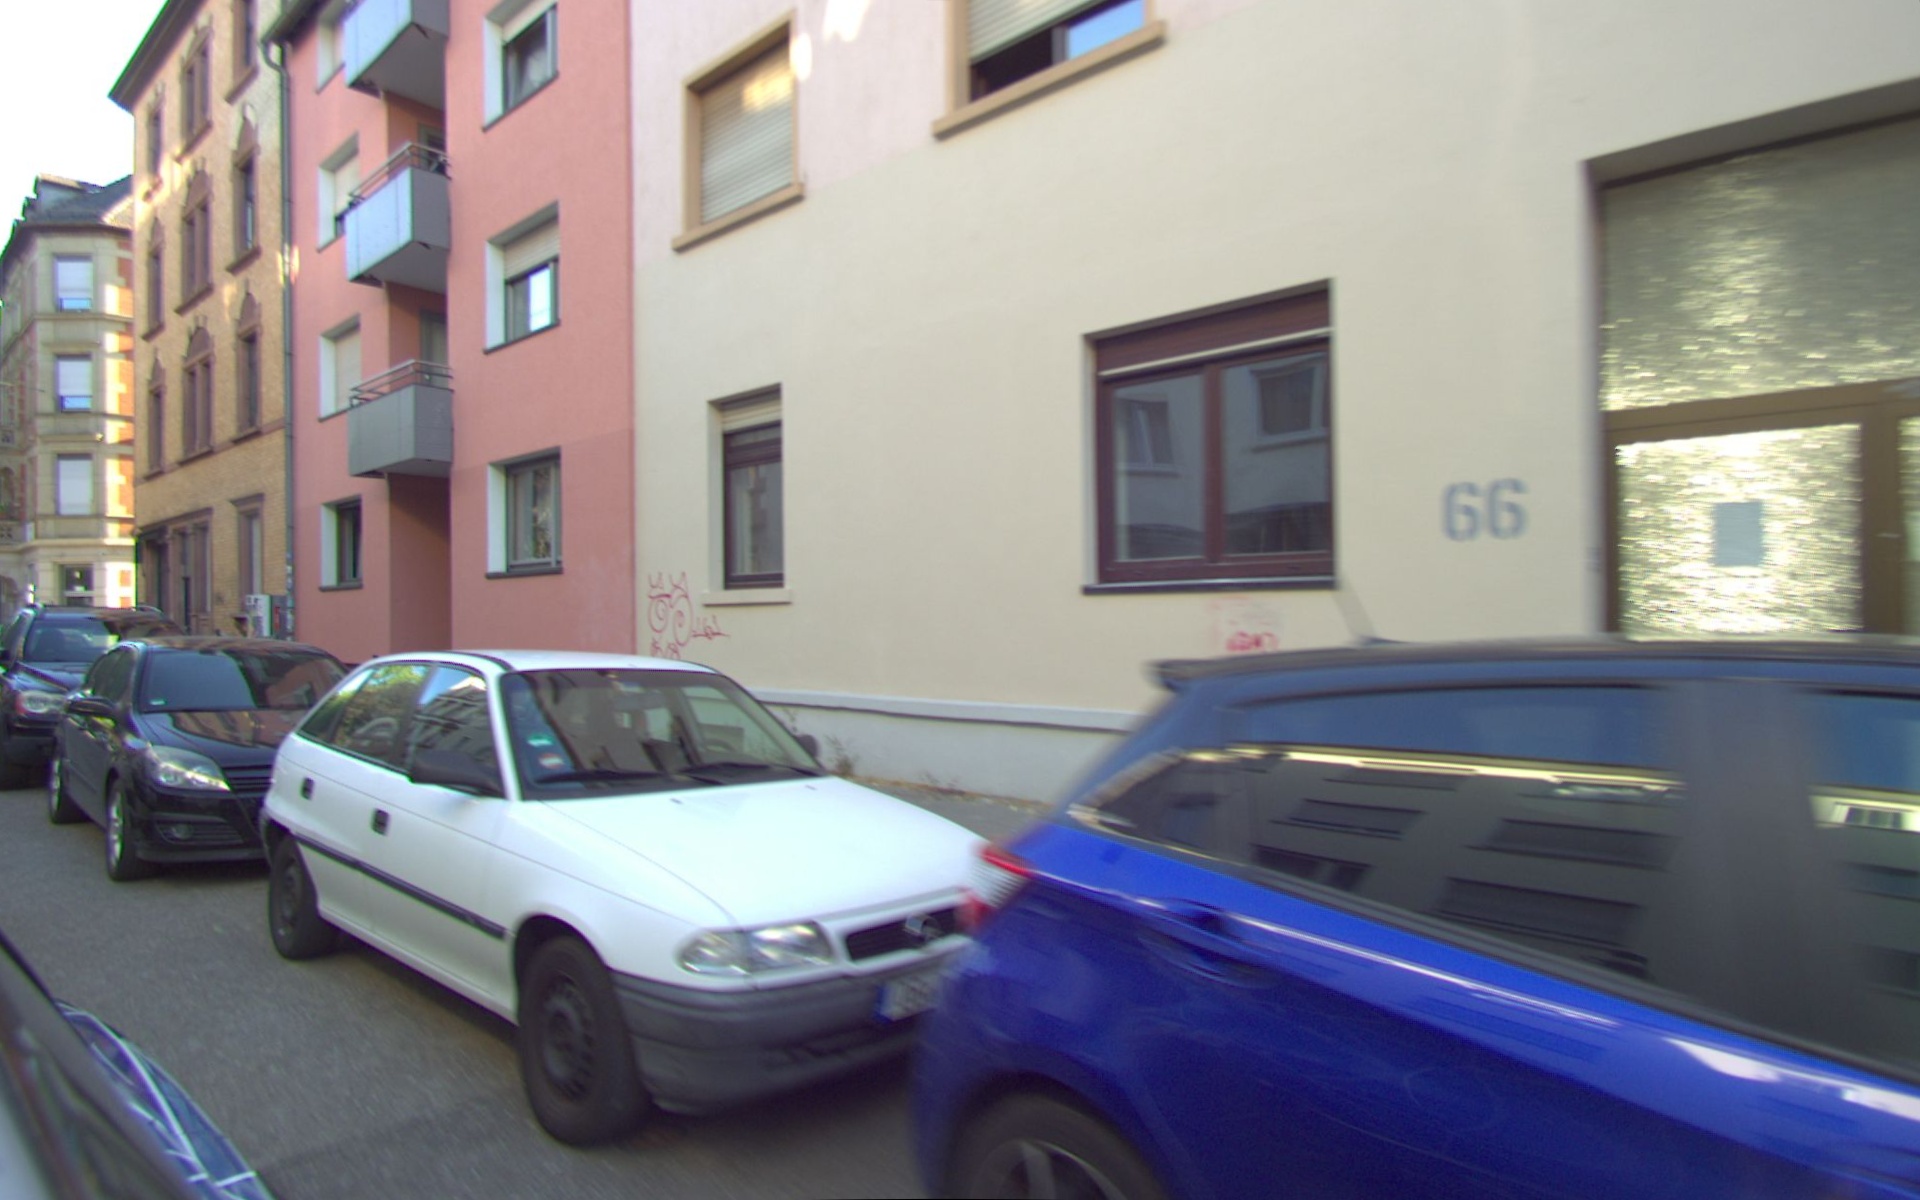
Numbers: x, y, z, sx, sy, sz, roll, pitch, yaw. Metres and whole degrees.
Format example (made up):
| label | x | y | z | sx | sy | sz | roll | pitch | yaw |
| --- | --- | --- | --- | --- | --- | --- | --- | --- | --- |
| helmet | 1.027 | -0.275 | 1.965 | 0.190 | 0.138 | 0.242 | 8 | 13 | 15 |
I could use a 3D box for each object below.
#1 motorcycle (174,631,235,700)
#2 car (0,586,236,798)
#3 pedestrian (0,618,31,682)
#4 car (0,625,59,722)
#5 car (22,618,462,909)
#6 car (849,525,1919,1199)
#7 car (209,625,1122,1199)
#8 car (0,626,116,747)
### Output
| label | x | y | z | sx | sy | sz | roll | pitch | yaw |
| --- | --- | --- | --- | --- | --- | --- | --- | --- | --- |
| motorcycle | -14.168 | 1.201 | 18.965 | 1.907 | 1.215 | 0.528 | -2 | -2 | 41 |
| car | -9.434 | 0.882 | 10.878 | 4.671 | 1.825 | 1.724 | -2 | -4 | 42 |
| pedestrian | -25.274 | 1.331 | 27.066 | 0.717 | 1.656 | 0.542 | 1 | 1 | 40 |
| car | -16.910 | 1.222 | 17.397 | 4.095 | 1.533 | 1.677 | -2 | -4 | 42 |
| car | -5.442 | 0.947 | 7.428 | 4.345 | 1.518 | 1.724 | -2 | -4 | 42 |
| car | 1.738 | 0.693 | 1.342 | 1.654 | 1.497 | 3.994 | 3 | -4 | -44 |
| car | -1.551 | 0.841 | 4.247 | 4.179 | 1.399 | 1.656 | -2 | -3 | 41 |
| car | -13.416 | 1.159 | 14.371 | 3.943 | 1.533 | 1.638 | -2 | -4 | 42 |
